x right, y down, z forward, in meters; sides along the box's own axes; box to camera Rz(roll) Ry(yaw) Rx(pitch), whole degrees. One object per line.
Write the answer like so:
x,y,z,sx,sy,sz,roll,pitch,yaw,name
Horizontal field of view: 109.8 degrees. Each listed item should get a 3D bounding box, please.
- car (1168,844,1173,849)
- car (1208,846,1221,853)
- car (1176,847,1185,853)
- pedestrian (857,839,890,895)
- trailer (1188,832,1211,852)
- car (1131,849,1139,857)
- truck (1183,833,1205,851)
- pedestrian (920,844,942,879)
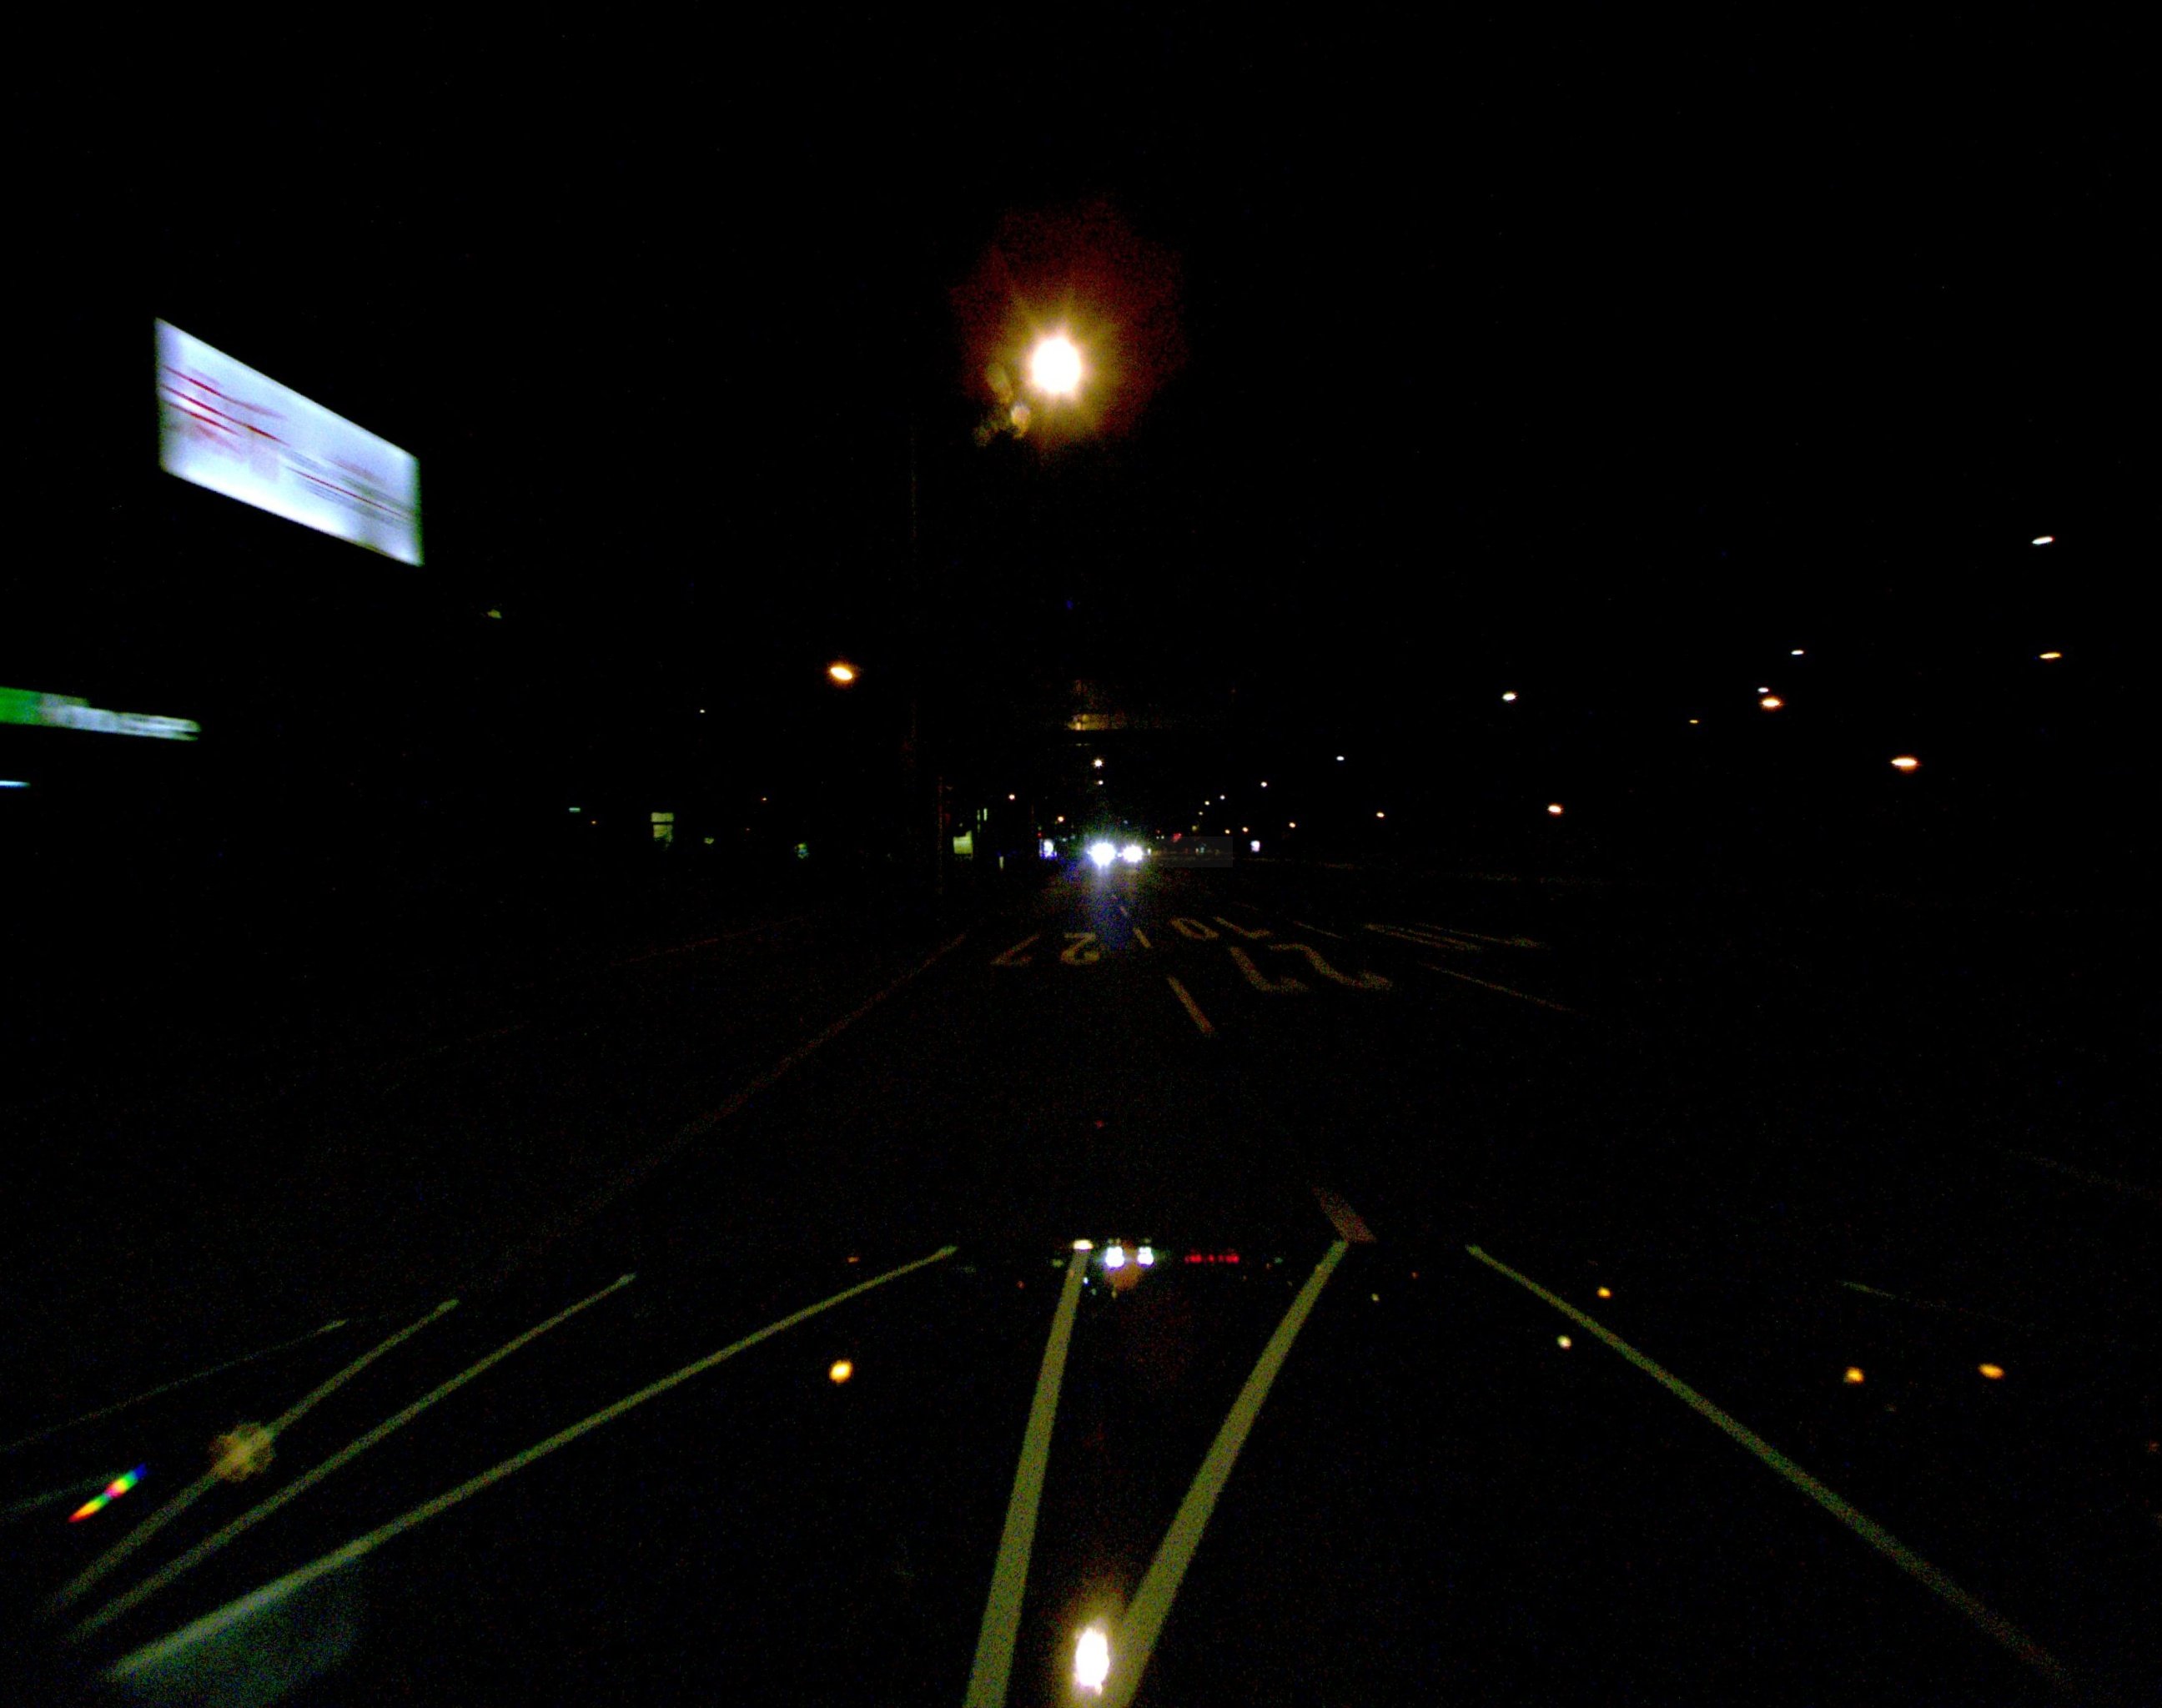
30.728,-2.565,260.509,1.793,1.896,4.001,-2,1,7,car
28.963,-1.036,164.887,1.991,1.473,4.203,1,1,1,car
25.627,-1.083,195.140,1.809,1.490,4.084,-1,1,0,car
-7.272,0.437,26.648,0.806,1.902,0.794,2,1,10,pedestrian
25.931,-2.634,166.527,3.705,3.967,8.394,-2,1,1,trailer
13.306,-0.274,187.949,1.793,2.002,4.001,-2,1,7,car
26.160,-2.849,175.971,3.690,3.932,10.419,-2,1,1,truck
-7.527,0.363,38.127,0.854,1.697,0.957,2,2,1,pedestrian
